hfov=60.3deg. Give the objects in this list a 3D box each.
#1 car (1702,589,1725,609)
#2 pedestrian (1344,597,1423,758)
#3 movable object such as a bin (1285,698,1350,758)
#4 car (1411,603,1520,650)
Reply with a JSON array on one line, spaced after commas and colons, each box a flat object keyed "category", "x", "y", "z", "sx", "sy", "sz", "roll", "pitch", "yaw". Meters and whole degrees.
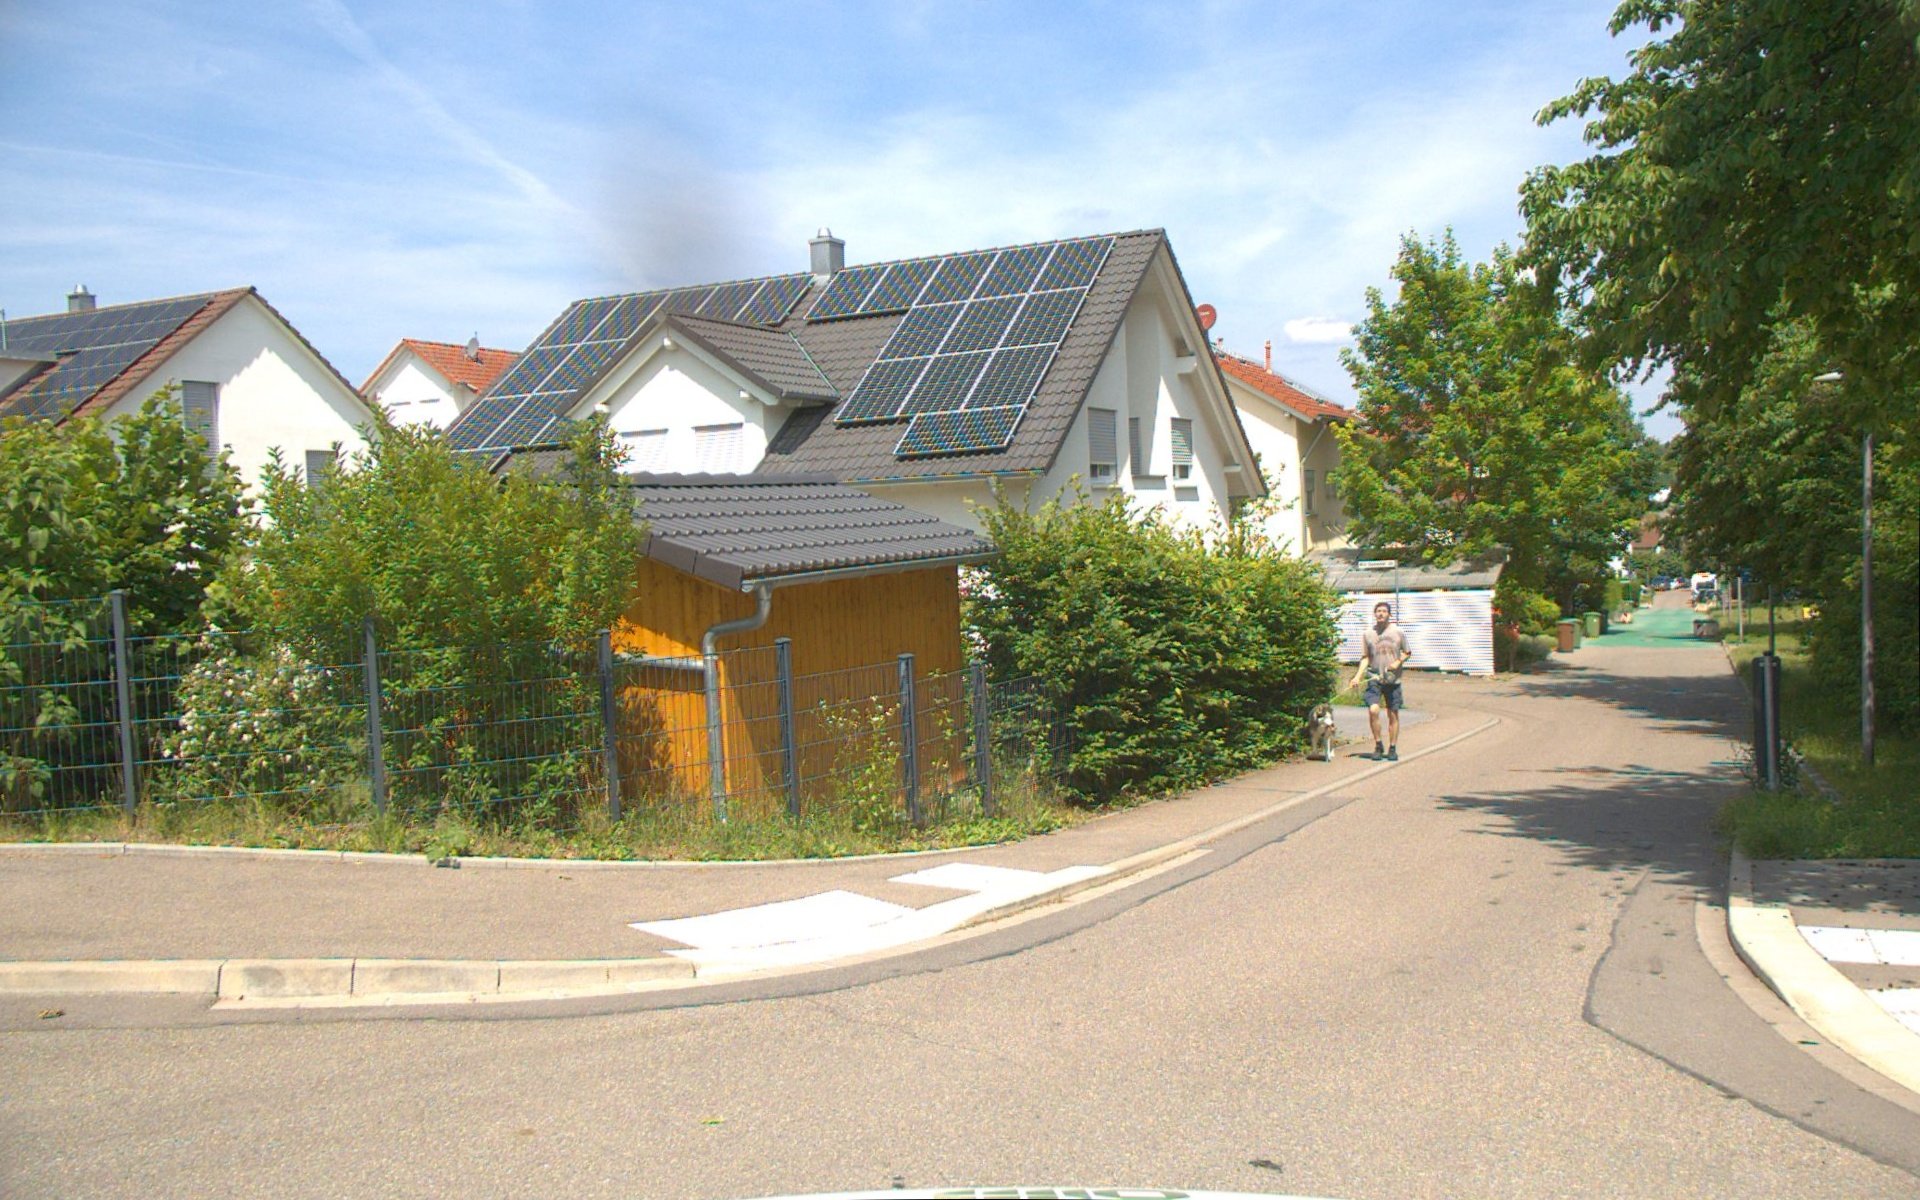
[{"category": "car", "x": 63.671, "y": -0.090, "z": 139.792, "sx": 1.545, "sy": 1.444, "sz": 3.232, "roll": -1, "pitch": 3, "yaw": 20}, {"category": "pedestrian", "x": 5.015, "y": 0.904, "z": 19.543, "sx": 0.828, "sy": 1.852, "sz": 0.835, "roll": -1, "pitch": -2, "yaw": 19}, {"category": "movable object such as a bin", "x": 4.204, "y": 1.495, "z": 19.431, "sx": 0.537, "sy": 0.640, "sz": 1.020, "roll": 0, "pitch": -2, "yaw": 25}, {"category": "car", "x": 16.569, "y": 0.848, "z": 54.377, "sx": 3.342, "sy": 1.444, "sz": 1.588, "roll": 0, "pitch": 2, "yaw": 14}]
